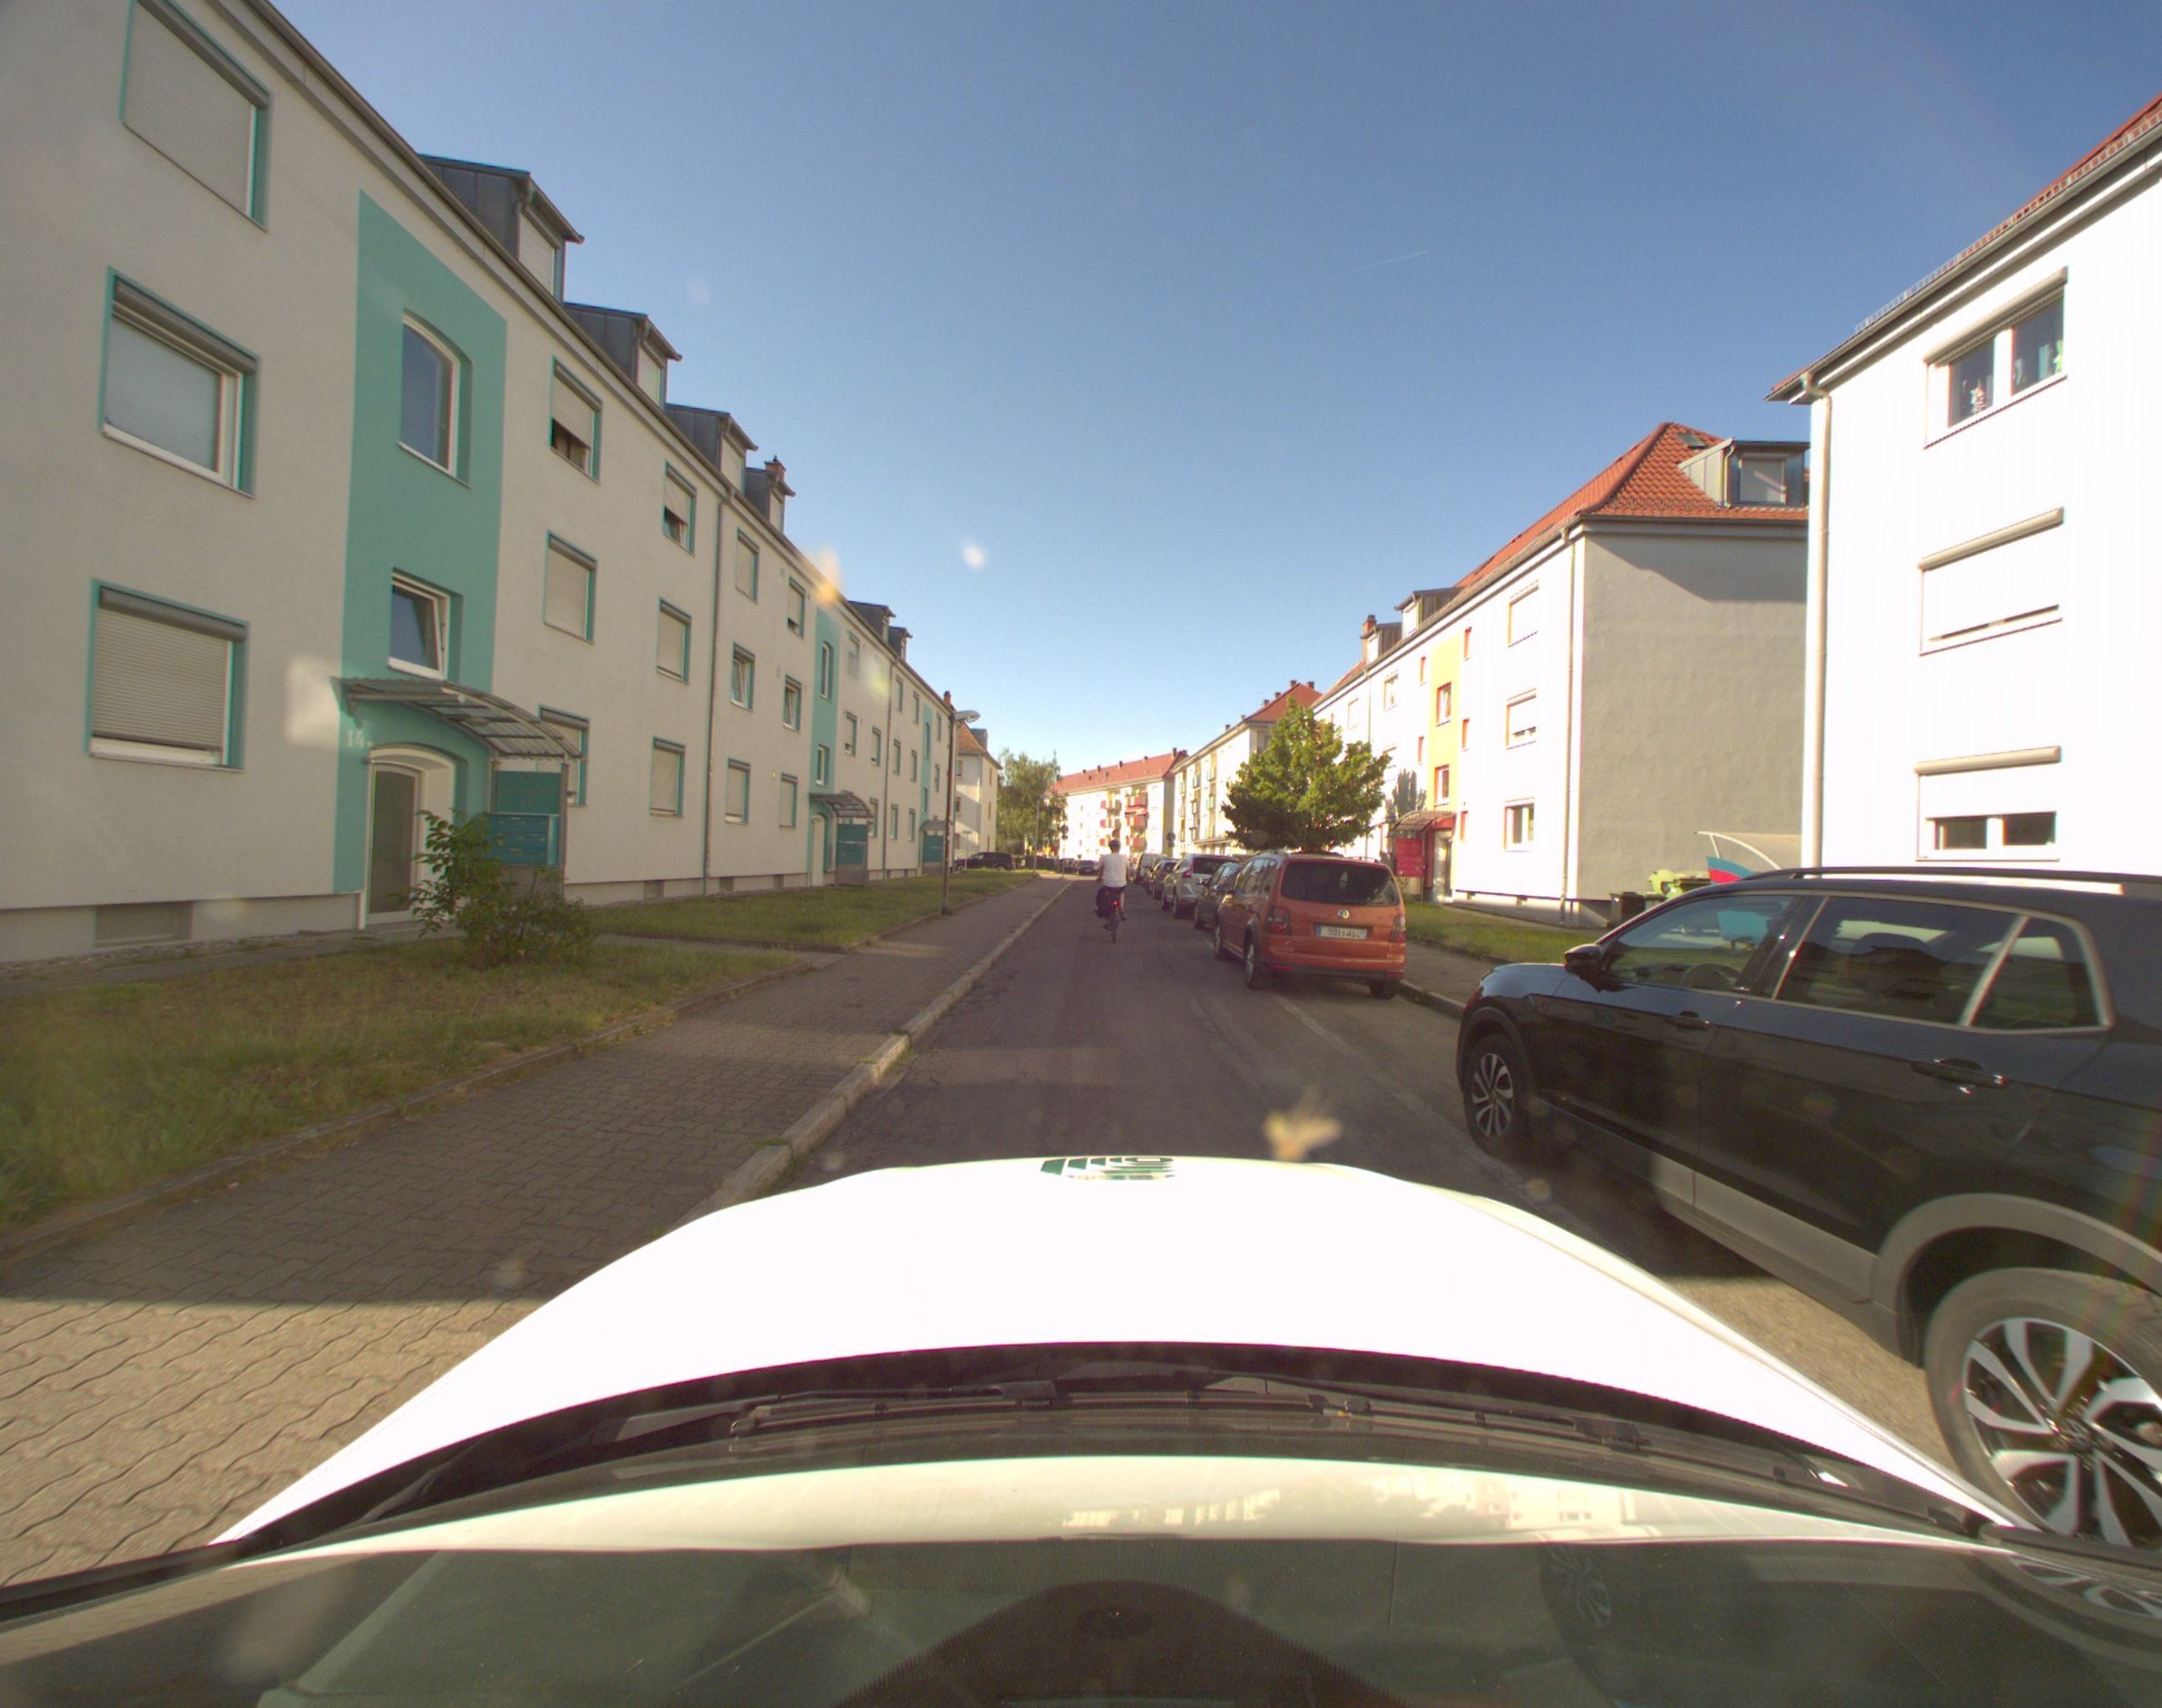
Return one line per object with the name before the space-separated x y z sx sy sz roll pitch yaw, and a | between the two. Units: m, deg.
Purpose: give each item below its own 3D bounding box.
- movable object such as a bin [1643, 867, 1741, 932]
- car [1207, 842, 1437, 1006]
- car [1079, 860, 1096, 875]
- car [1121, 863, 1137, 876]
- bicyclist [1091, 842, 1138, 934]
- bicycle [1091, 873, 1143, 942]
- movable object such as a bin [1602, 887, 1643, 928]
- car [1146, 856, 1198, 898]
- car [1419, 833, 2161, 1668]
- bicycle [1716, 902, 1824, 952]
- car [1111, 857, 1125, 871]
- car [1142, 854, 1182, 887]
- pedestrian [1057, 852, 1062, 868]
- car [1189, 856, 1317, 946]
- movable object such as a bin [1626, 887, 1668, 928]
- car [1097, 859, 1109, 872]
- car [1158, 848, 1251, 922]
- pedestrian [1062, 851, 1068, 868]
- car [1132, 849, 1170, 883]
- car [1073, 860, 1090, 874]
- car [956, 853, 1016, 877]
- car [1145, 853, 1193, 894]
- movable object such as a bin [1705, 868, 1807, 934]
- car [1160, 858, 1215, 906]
movable object such as a bin | 13.995 1.020 18.697 1.355 1.416 1.188 1 0 1
car | 2.916 0.758 10.846 1.855 1.668 4.128 3 0 1
car | 0.616 1.284 78.035 1.466 1.335 3.137 -2 0 -3
car | 5.161 1.641 87.539 1.465 1.335 3.140 2 0 -1
bicyclist | 0.603 0.607 15.012 0.806 1.643 0.898 1 0 -1
bicycle | 0.624 0.932 14.900 0.806 1.128 2.101 1 0 -1
movable object such as a bin | 12.490 1.228 18.810 0.521 0.886 0.633 2 0 1
car | 3.362 0.813 30.688 1.553 1.411 3.934 2 0 1
car | 2.979 0.795 2.931 1.706 1.595 4.398 3 0 1
bicycle | 12.553 1.314 14.919 0.452 0.740 1.870 1 0 2
car | 4.289 1.177 94.539 1.377 1.497 3.076 2 0 -1
car | 3.945 0.783 40.226 1.554 1.453 3.365 2 0 -1
pedestrian | -1.954 0.525 74.255 0.433 1.427 0.543 1 0 1
car | 3.294 0.841 16.300 1.613 1.460 3.839 4 0 -1
movable object such as a bin | 13.045 1.227 18.788 0.521 0.886 0.633 2 0 1
car | 2.893 1.515 107.143 1.465 1.516 3.076 2 0 -1
car | 3.132 0.723 21.434 1.695 1.671 4.378 3 0 0
pedestrian | -1.459 0.473 74.180 0.433 1.574 0.543 1 0 1
car | 3.824 0.618 44.945 1.669 1.738 3.941 2 0 -1
car | 0.041 1.277 82.415 1.466 1.335 3.138 -2 0 -3
car | -6.905 0.795 59.373 4.221 1.638 1.581 1 0 -3
car | 3.669 0.768 34.386 1.554 1.576 3.365 2 0 -1
movable object such as a bin | 15.478 1.050 18.712 1.355 1.416 1.188 1 0 1
car | 3.452 0.879 26.830 1.386 1.403 3.245 2 0 1
